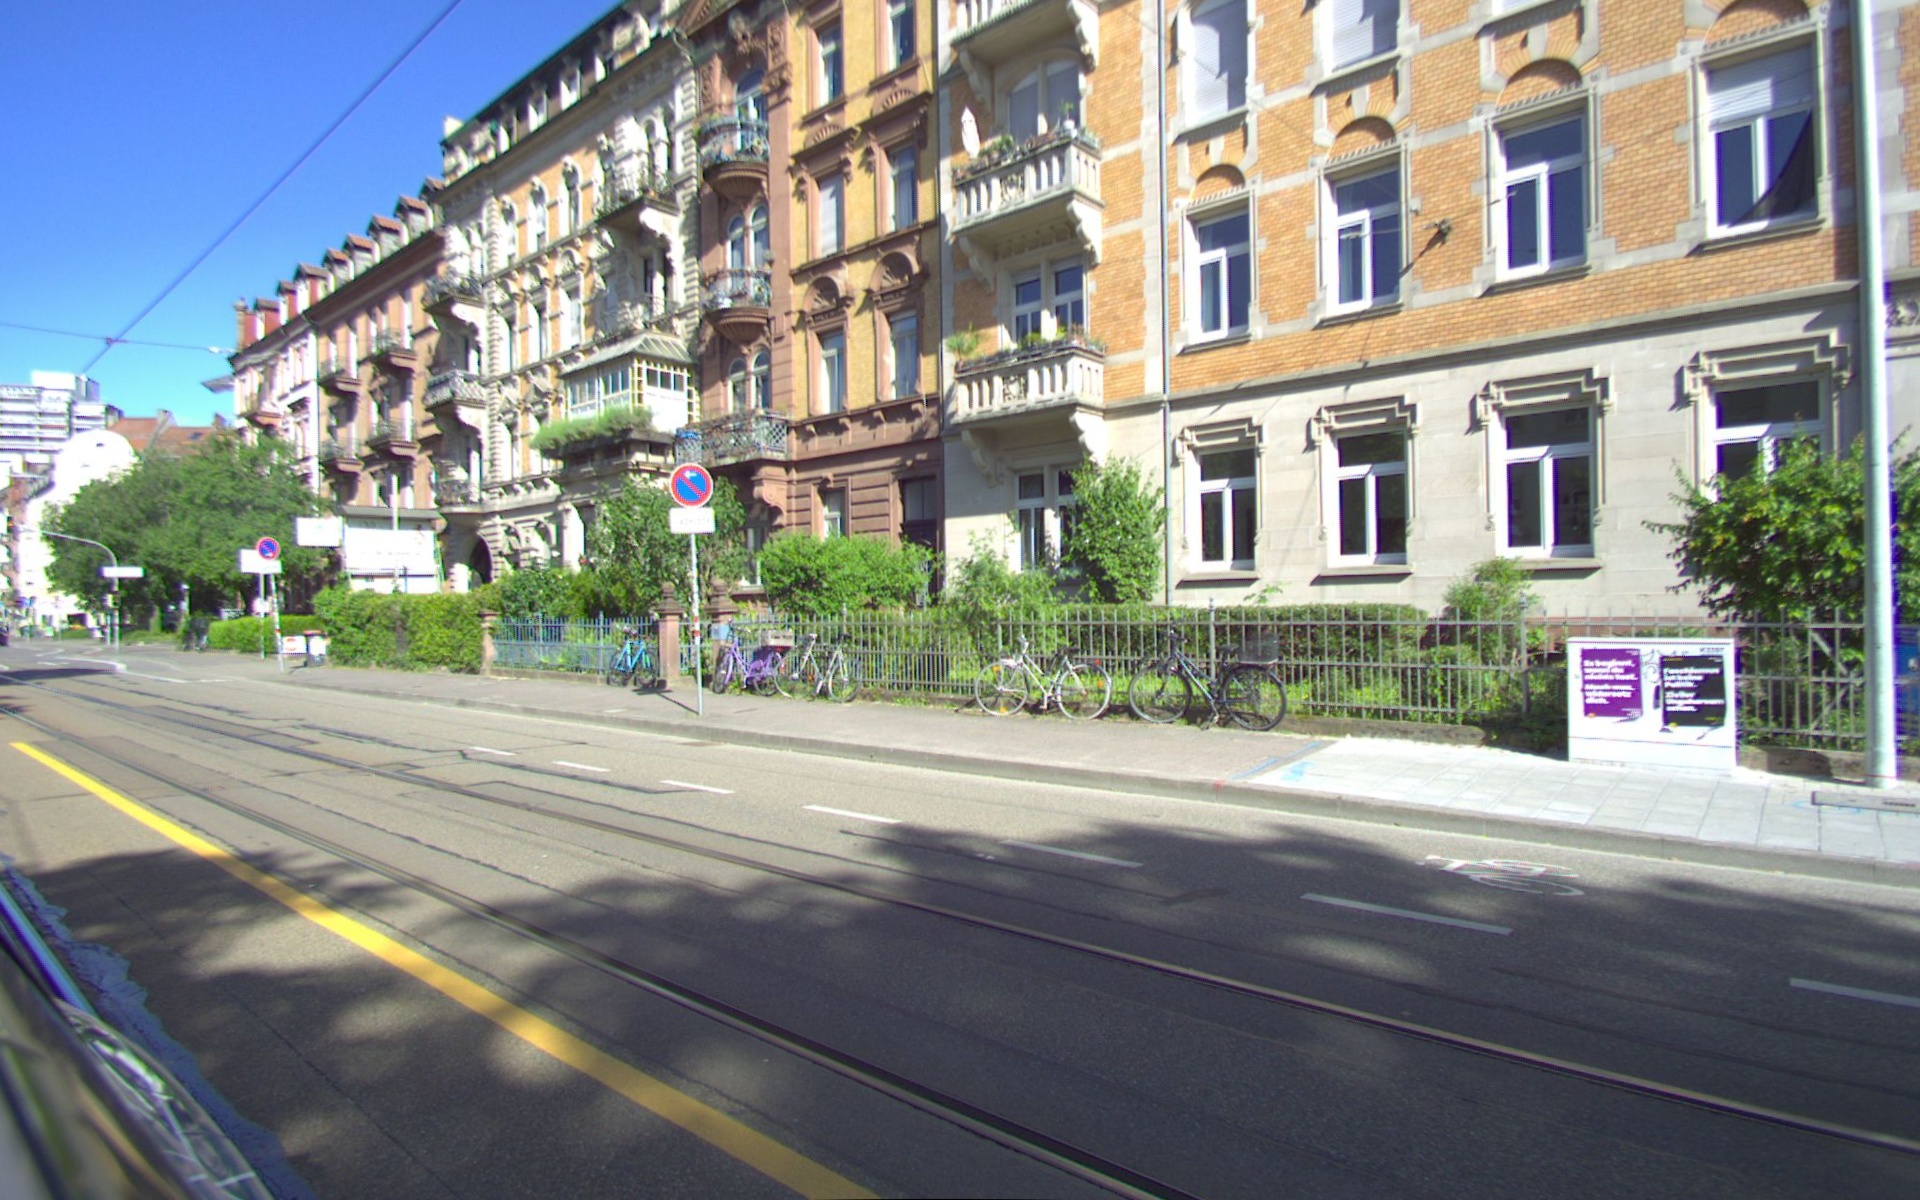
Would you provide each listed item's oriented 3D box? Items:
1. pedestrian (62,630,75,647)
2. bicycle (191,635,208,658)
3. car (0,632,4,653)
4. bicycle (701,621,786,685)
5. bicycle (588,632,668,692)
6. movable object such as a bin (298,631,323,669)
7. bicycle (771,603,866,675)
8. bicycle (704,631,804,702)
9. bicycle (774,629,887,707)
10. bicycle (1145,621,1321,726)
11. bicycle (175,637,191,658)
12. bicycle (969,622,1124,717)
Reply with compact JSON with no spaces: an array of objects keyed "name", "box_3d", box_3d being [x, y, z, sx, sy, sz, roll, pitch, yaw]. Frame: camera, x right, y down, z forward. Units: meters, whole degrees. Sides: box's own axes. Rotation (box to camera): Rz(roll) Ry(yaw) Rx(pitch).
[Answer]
[{"name":"pedestrian","box_3d":[-73.337,3.158,83.251,0.724,1.291,0.650,-2,0,41]},{"name":"bicycle","box_3d":[-32.915,1.993,43.797,0.338,0.933,1.944,-2,0,-44]},{"name":"car","box_3d":[-71.153,3.131,73.670,4.964,1.529,1.813,-2,1,41]},{"name":"bicycle","box_3d":[-4.085,0.984,19.192,0.479,1.041,1.559,-2,2,40]},{"name":"bicycle","box_3d":[-6.186,1.146,18.787,1.767,1.041,0.557,-3,0,42]},{"name":"movable object such as a bin","box_3d":[-19.396,1.492,30.223,0.541,1.094,0.474,-2,0,42]},{"name":"bicycle","box_3d":[-2.585,0.696,18.656,0.564,1.163,1.744,-2,2,40]},{"name":"bicycle","box_3d":[-3.285,1.033,16.046,1.766,1.041,0.557,-2,0,40]},{"name":"bicycle","box_3d":[-1.910,0.969,14.791,1.766,1.041,0.557,-2,0,40]},{"name":"bicycle","box_3d":[2.989,0.803,11.178,1.745,1.041,0.564,-3,0,5]},{"name":"bicycle","box_3d":[-35.846,2.171,46.675,0.338,0.933,1.944,-2,0,-44]},{"name":"bicycle","box_3d":[1.060,0.848,12.332,1.752,1.041,0.562,-3,3,17]}]
